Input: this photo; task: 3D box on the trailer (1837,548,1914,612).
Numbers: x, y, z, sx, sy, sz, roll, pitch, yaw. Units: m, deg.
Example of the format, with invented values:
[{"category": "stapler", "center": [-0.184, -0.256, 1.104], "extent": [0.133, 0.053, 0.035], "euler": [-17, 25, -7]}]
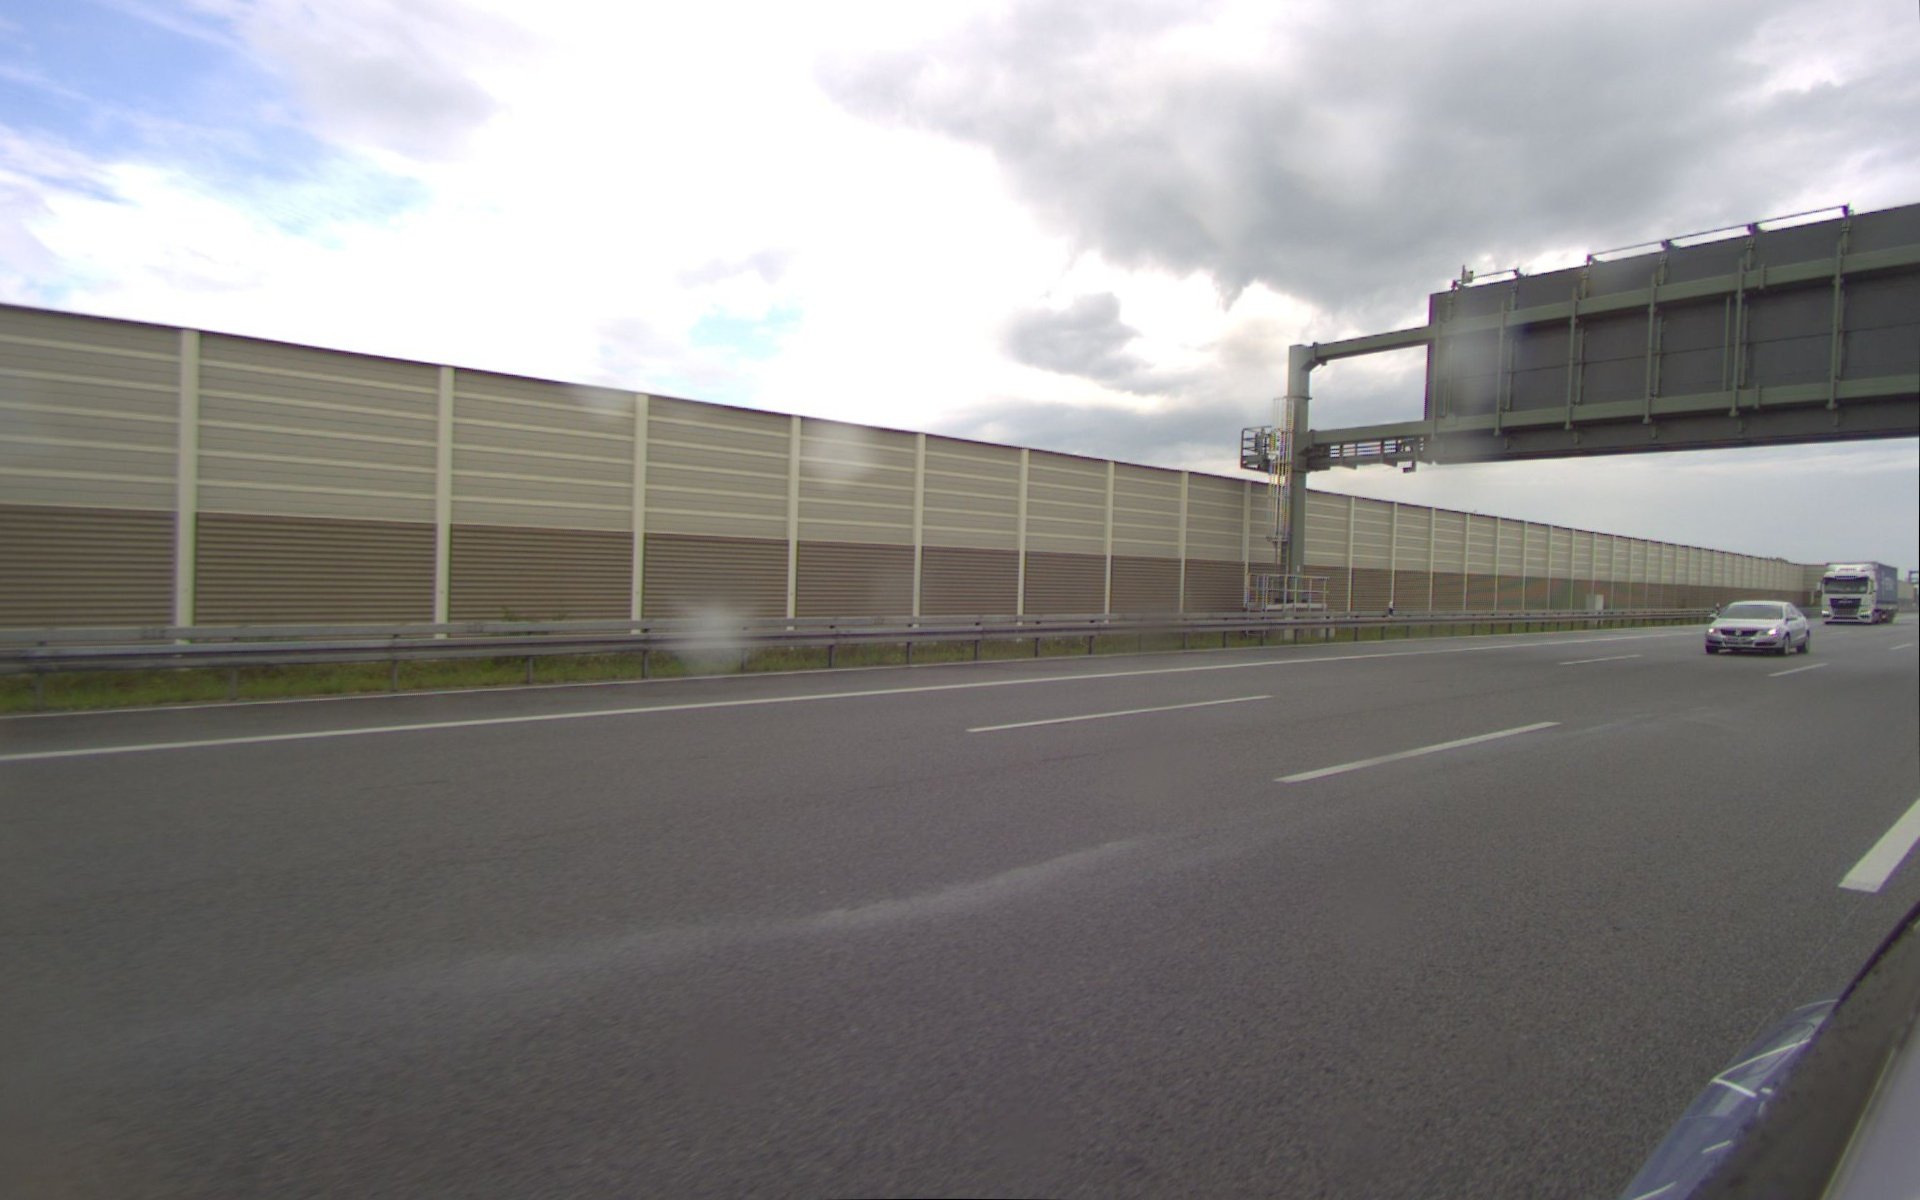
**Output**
[{"category": "trailer", "center": [64.498, -1.249, 71.122], "extent": [14.207, 4.083, 2.764], "euler": [1, 0, -43]}]

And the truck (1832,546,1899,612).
[{"category": "truck", "center": [59.423, -1.317, 66.400], "extent": [5.628, 4.086, 2.748], "euler": [1, 0, -43]}]

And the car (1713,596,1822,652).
[{"category": "car", "center": [22.426, 0.627, 28.058], "extent": [3.931, 1.421, 1.730], "euler": [1, 0, -42]}]
